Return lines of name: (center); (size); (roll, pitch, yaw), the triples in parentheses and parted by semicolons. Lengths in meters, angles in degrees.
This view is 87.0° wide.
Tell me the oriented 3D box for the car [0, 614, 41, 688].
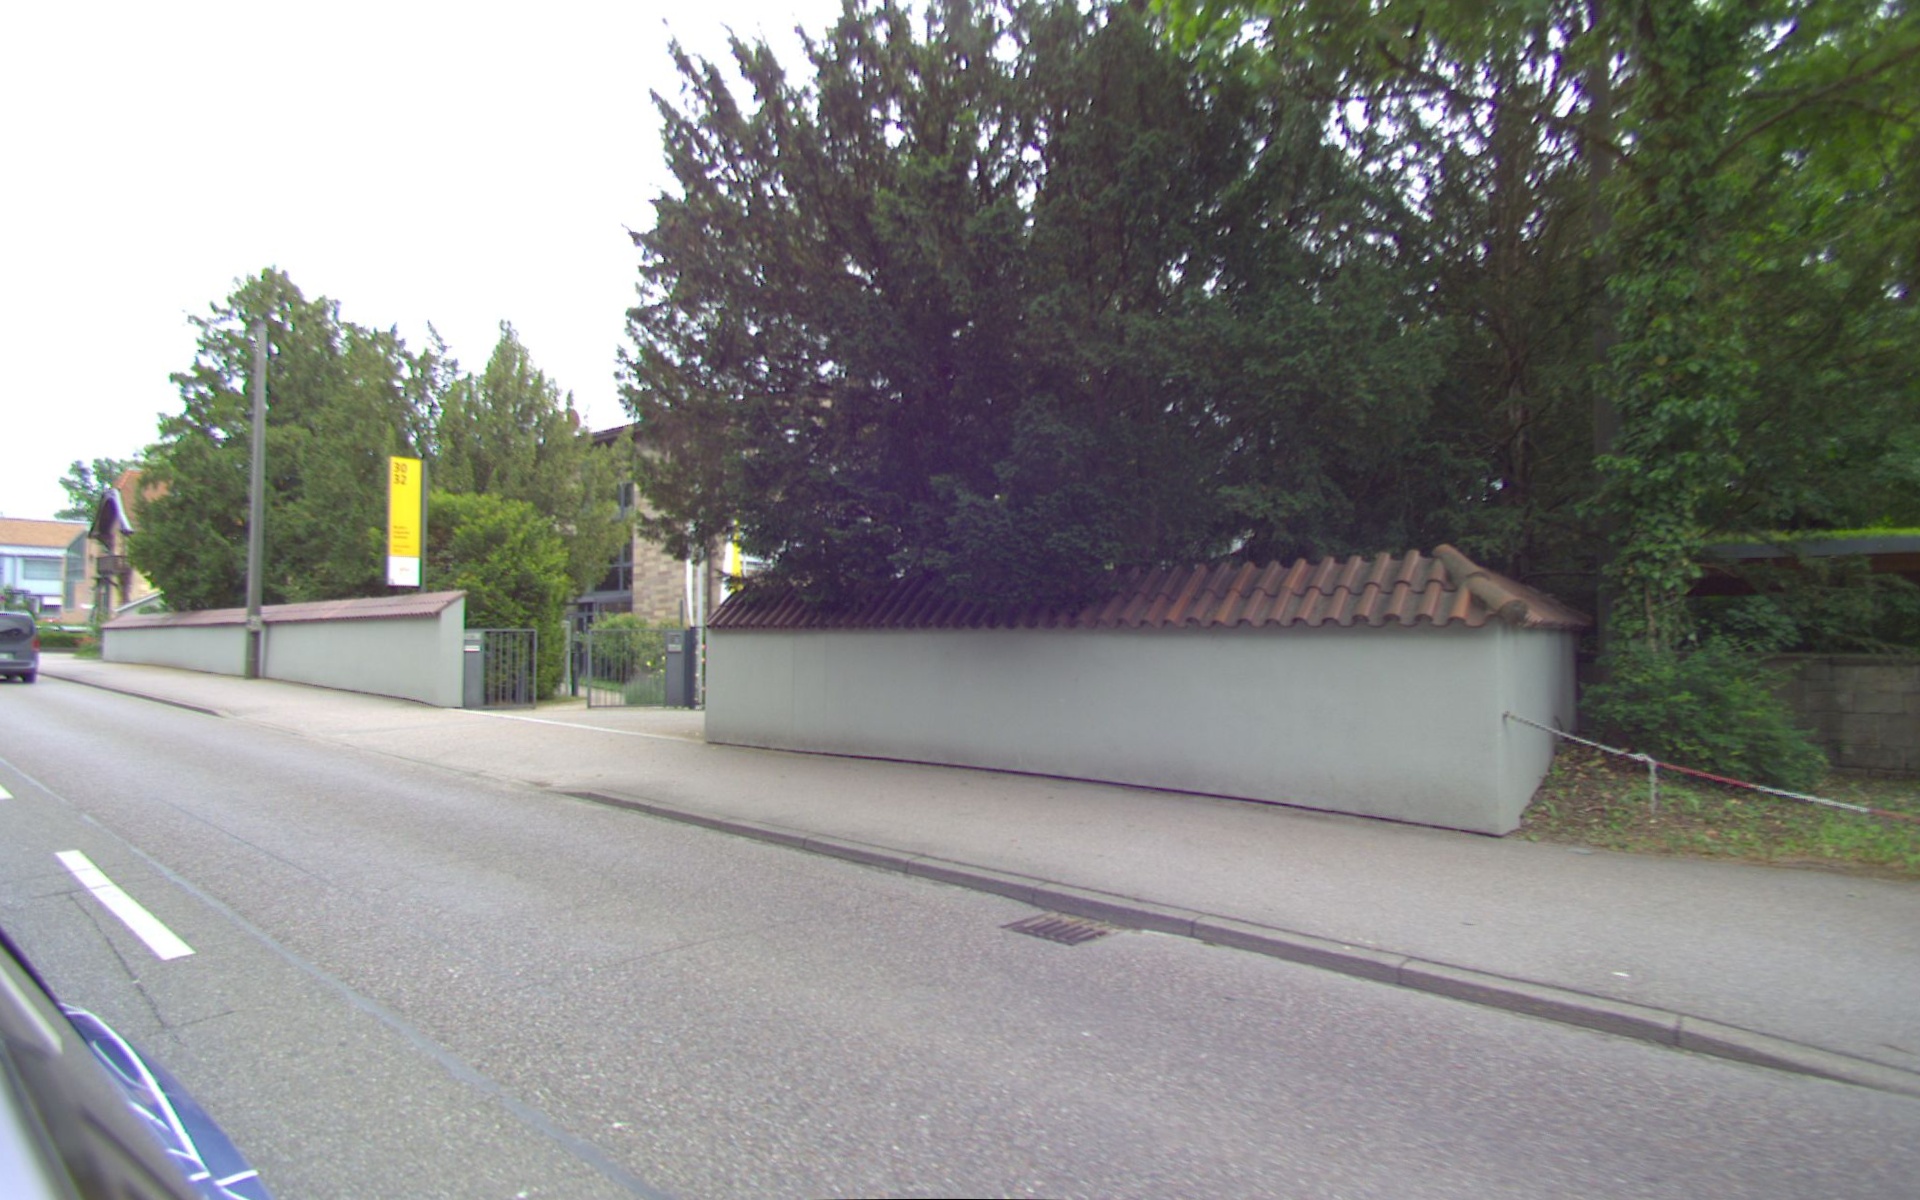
car: (-26.192, 1.312, 26.905); (5.079, 1.870, 1.871); (-1, -5, 40)
